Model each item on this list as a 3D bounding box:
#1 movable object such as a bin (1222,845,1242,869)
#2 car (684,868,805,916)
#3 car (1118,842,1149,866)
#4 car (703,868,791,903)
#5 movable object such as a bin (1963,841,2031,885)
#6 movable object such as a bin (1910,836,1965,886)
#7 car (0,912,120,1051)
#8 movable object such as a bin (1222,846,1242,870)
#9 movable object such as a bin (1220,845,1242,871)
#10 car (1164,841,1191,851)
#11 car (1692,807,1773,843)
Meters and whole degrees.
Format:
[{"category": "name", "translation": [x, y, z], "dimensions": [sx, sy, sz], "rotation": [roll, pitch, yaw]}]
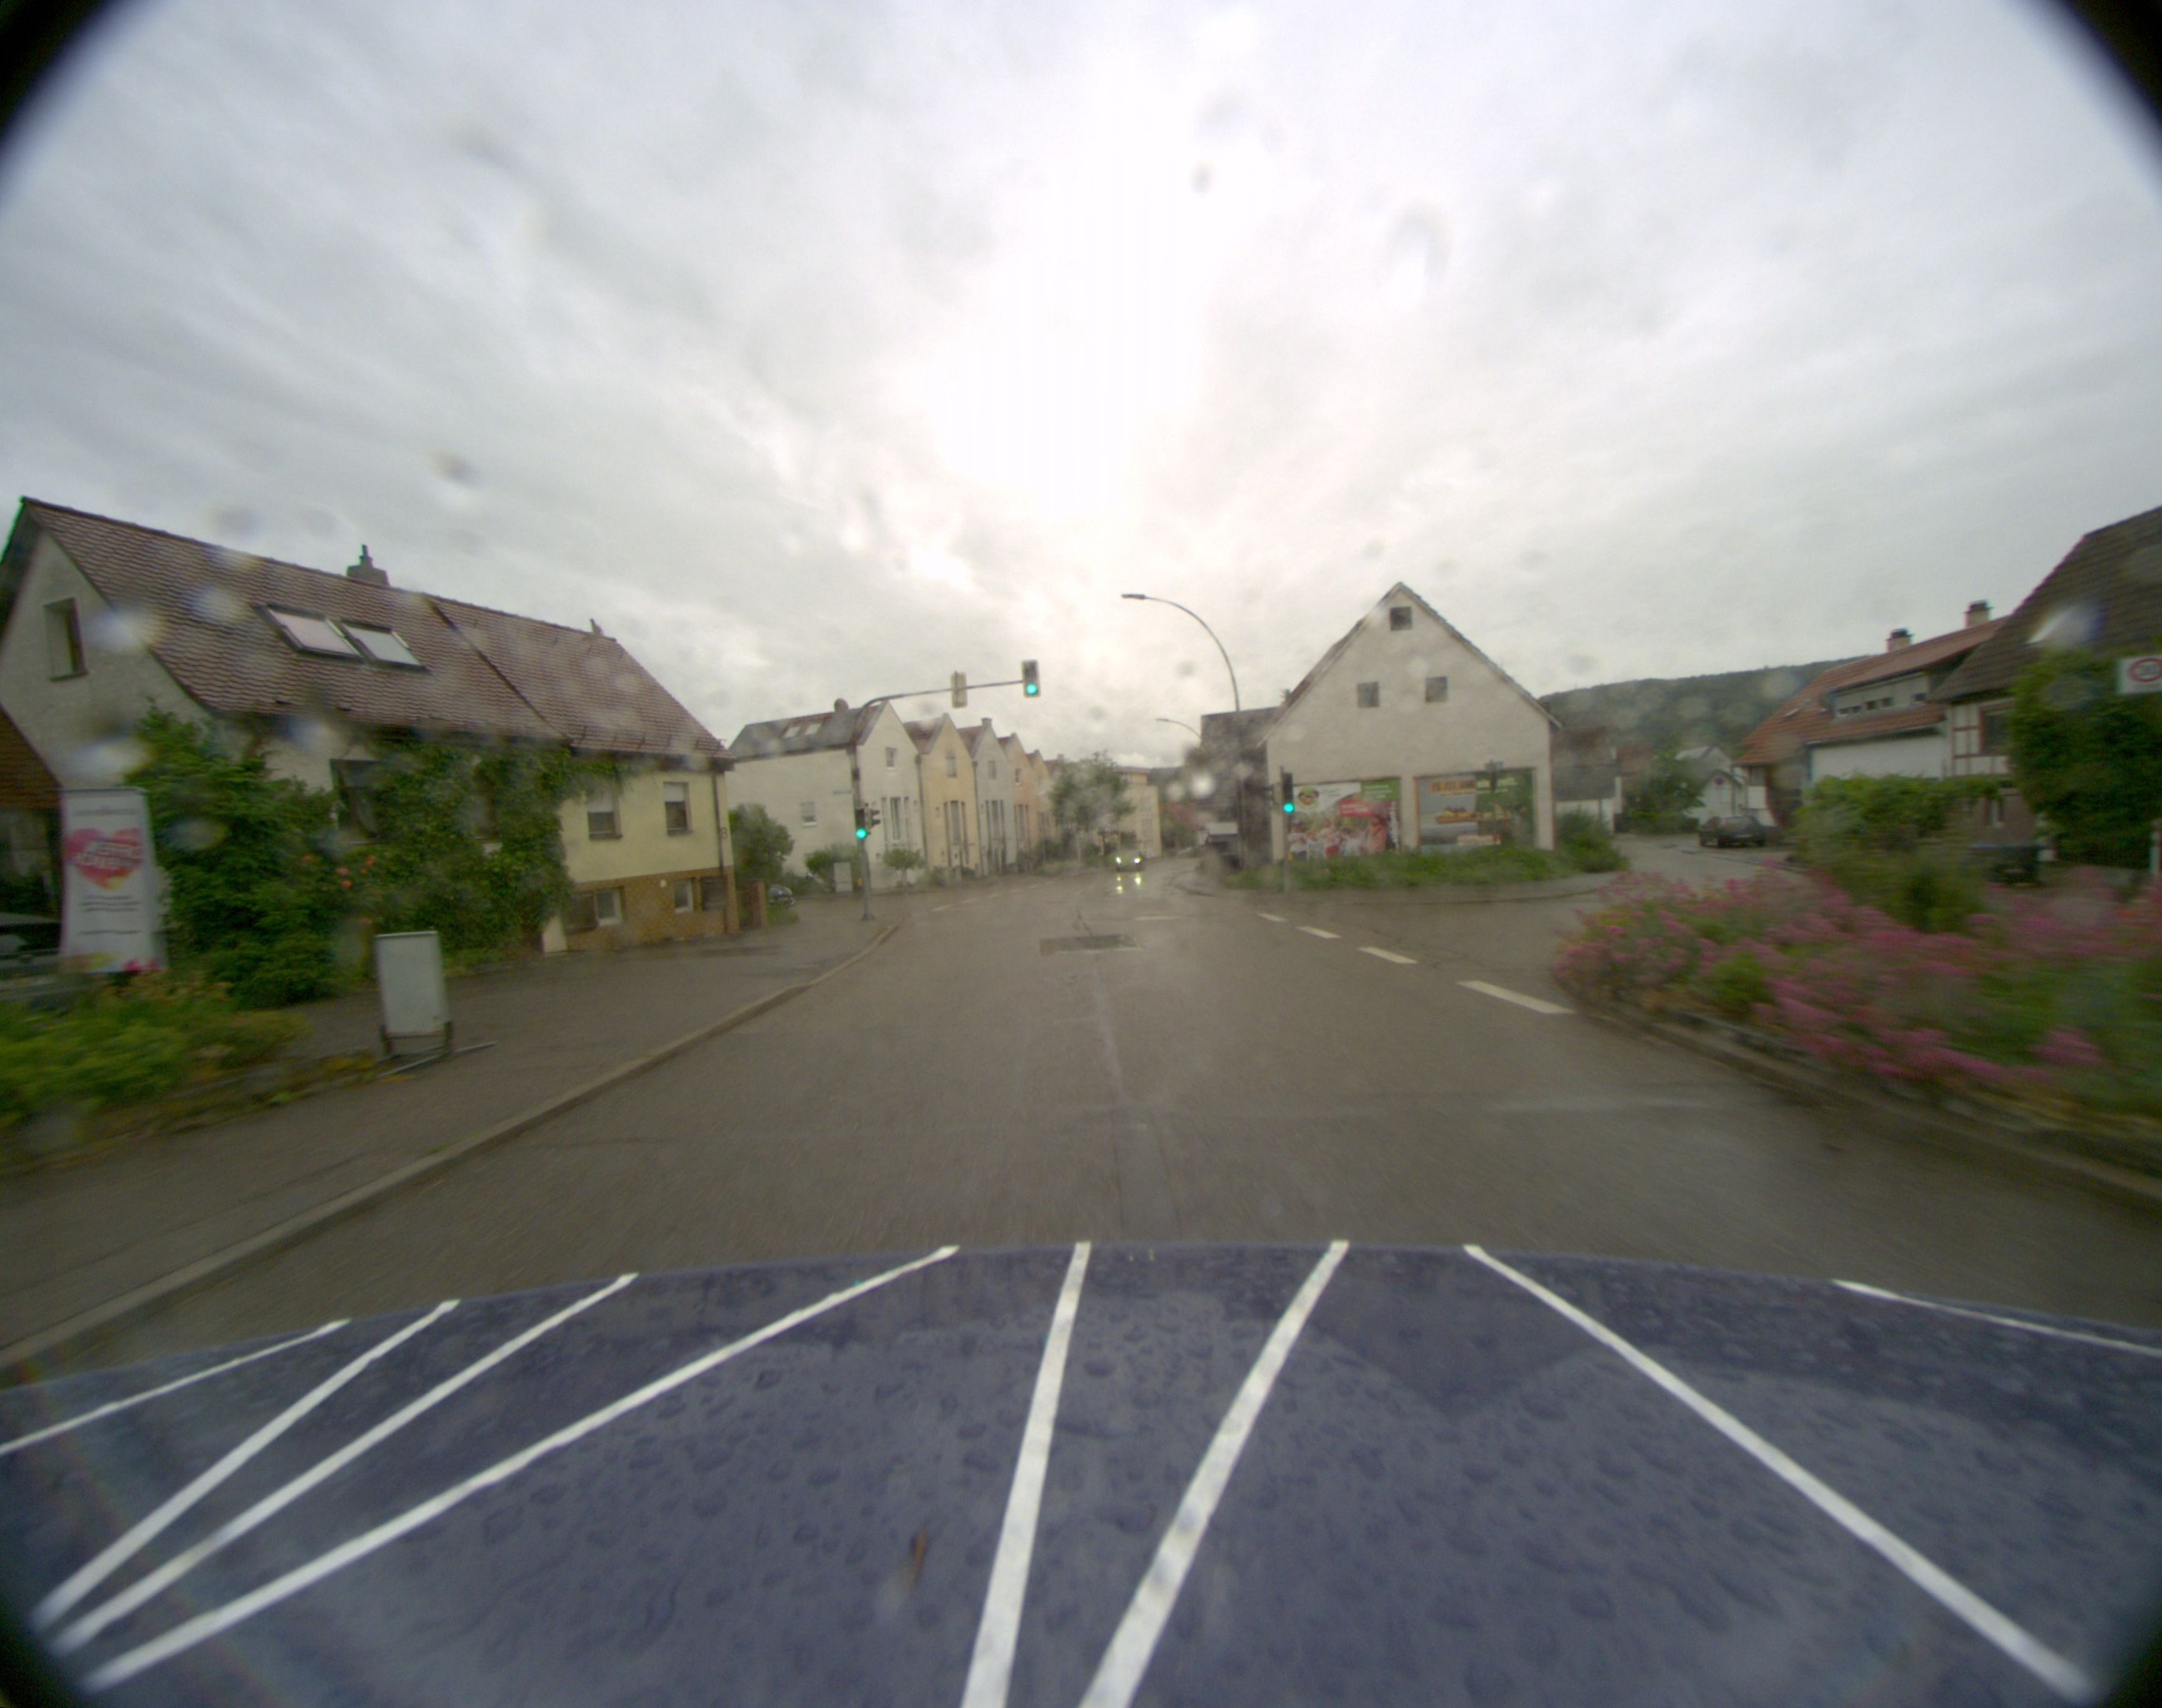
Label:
[{"category": "movable object such as a bin", "translation": [7.092, 0.158, 35.800], "dimensions": [0.837, 1.053, 0.612], "rotation": [-4, 2, 9]}, {"category": "car", "translation": [-12.967, 1.479, 29.263], "dimensions": [4.136, 1.576, 1.867], "rotation": [-3, 2, 24]}, {"category": "car", "translation": [3.873, -0.035, 55.742], "dimensions": [1.997, 1.521, 4.001], "rotation": [-3, 2, 7]}, {"category": "car", "translation": [-16.342, 1.545, 37.191], "dimensions": [3.726, 1.399, 1.806], "rotation": [-3, 2, 25]}, {"category": "movable object such as a bin", "translation": [19.211, 0.183, 15.954], "dimensions": [0.702, 0.882, 0.652], "rotation": [-2, 1, 28]}, {"category": "movable object such as a bin", "translation": [18.474, 0.154, 16.404], "dimensions": [0.578, 1.040, 0.652], "rotation": [-2, 1, 28]}, {"category": "car", "translation": [-13.842, 1.488, 8.787], "dimensions": [4.104, 1.451, 1.677], "rotation": [-2, 0, 12]}, {"category": "movable object such as a bin", "translation": [6.957, 0.188, 35.089], "dimensions": [0.819, 1.055, 0.596], "rotation": [-4, 2, 9]}, {"category": "movable object such as a bin", "translation": [6.806, 0.188, 34.503], "dimensions": [0.899, 1.072, 0.651], "rotation": [-5, 2, 9]}, {"category": "car", "translation": [15.616, -1.276, 122.885], "dimensions": [4.006, 1.368, 1.875], "rotation": [-4, 2, -39]}, {"category": "car", "translation": [29.746, -1.316, 34.829], "dimensions": [1.725, 1.484, 3.975], "rotation": [-2, 1, 24]}]
